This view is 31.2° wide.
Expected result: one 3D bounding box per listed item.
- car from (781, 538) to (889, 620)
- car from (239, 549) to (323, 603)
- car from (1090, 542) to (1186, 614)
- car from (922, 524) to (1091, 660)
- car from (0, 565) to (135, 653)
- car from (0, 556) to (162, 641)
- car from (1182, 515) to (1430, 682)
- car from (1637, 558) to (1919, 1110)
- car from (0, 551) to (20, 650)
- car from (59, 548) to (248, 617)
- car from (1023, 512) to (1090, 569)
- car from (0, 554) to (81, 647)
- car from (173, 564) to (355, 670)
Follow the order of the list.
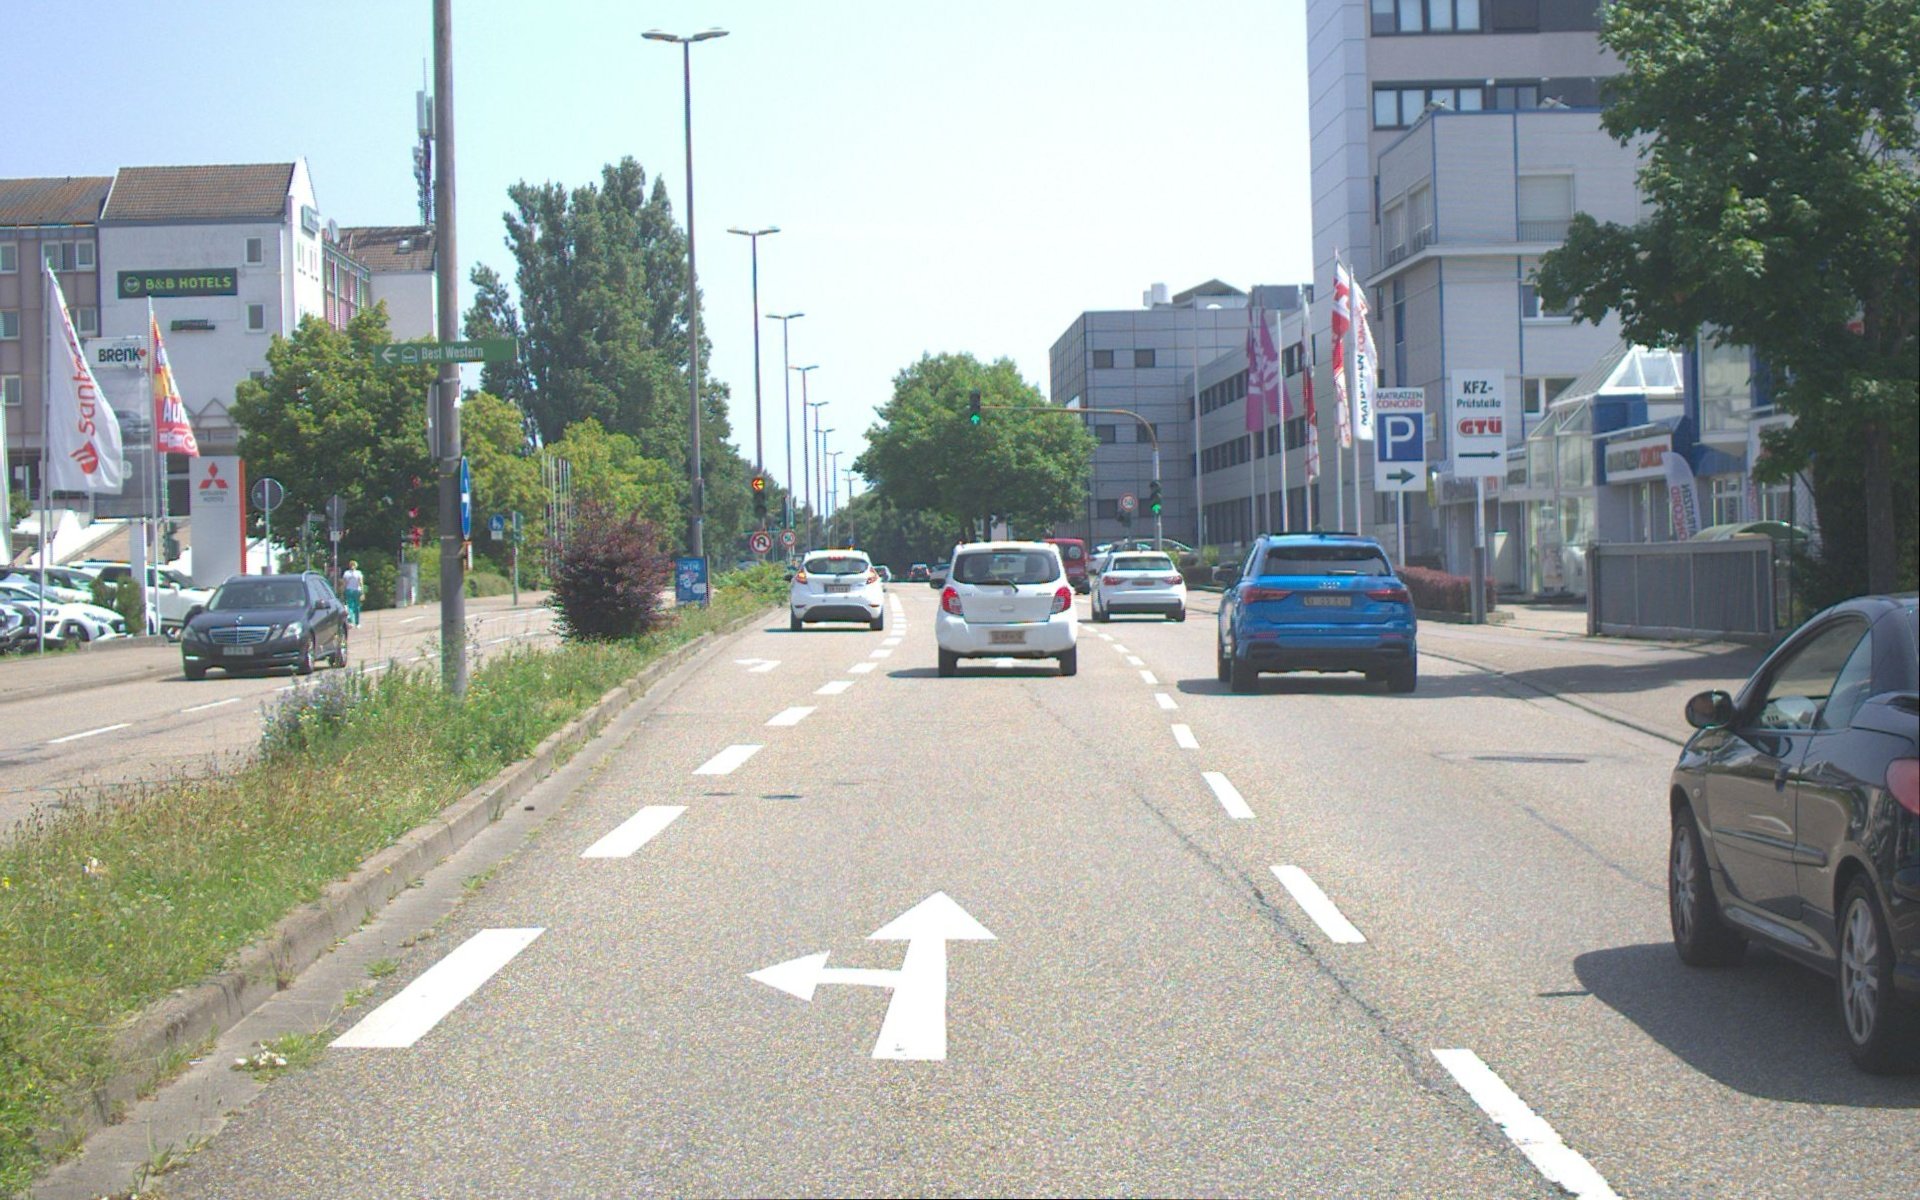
[{"bbox_3d":[-2.255,-0.357,63.038,1.830,1.445,4.000,0,0,0],"label":"car"},{"bbox_3d":[-18.389,-0.638,93.194,1.901,1.349,4.000,0,-1,-6],"label":"car"},{"bbox_3d":[3.570,-0.456,69.468,1.667,1.394,3.793,-1,1,-1],"label":"car"},{"bbox_3d":[0.501,-0.100,40.120,1.712,1.505,3.247,0,0,-4],"label":"car"},{"bbox_3d":[-18.423,0.193,67.656,3.986,1.678,2.000,0,-1,-4],"label":"car"},{"bbox_3d":[-19.027,-0.016,72.409,3.986,1.725,1.908,0,-1,-27],"label":"car"},{"bbox_3d":[3.507,-0.068,35.578,1.913,1.591,4.396,0,2,-3],"label":"car"},{"bbox_3d":[3.292,0.590,10.823,1.600,1.420,3.661,0,1,0],"label":"car"},{"bbox_3d":[-18.281,0.029,58.732,3.986,1.659,1.889,0,-1,-4],"label":"car"},{"bbox_3d":[-18.977,-0.398,81.015,3.987,1.547,1.865,0,-1,1],"label":"car"},{"bbox_3d":[3.061,-1.893,109.902,1.794,1.723,3.973,0,0,-3],"label":"car"},{"bbox_3d":[-18.748,0.028,64.694,3.986,1.722,1.937,0,-1,-4],"label":"car"},{"bbox_3d":[-10.256,0.224,50.917,1.897,1.383,4.067,-2,1,-1],"label":"car"}]
